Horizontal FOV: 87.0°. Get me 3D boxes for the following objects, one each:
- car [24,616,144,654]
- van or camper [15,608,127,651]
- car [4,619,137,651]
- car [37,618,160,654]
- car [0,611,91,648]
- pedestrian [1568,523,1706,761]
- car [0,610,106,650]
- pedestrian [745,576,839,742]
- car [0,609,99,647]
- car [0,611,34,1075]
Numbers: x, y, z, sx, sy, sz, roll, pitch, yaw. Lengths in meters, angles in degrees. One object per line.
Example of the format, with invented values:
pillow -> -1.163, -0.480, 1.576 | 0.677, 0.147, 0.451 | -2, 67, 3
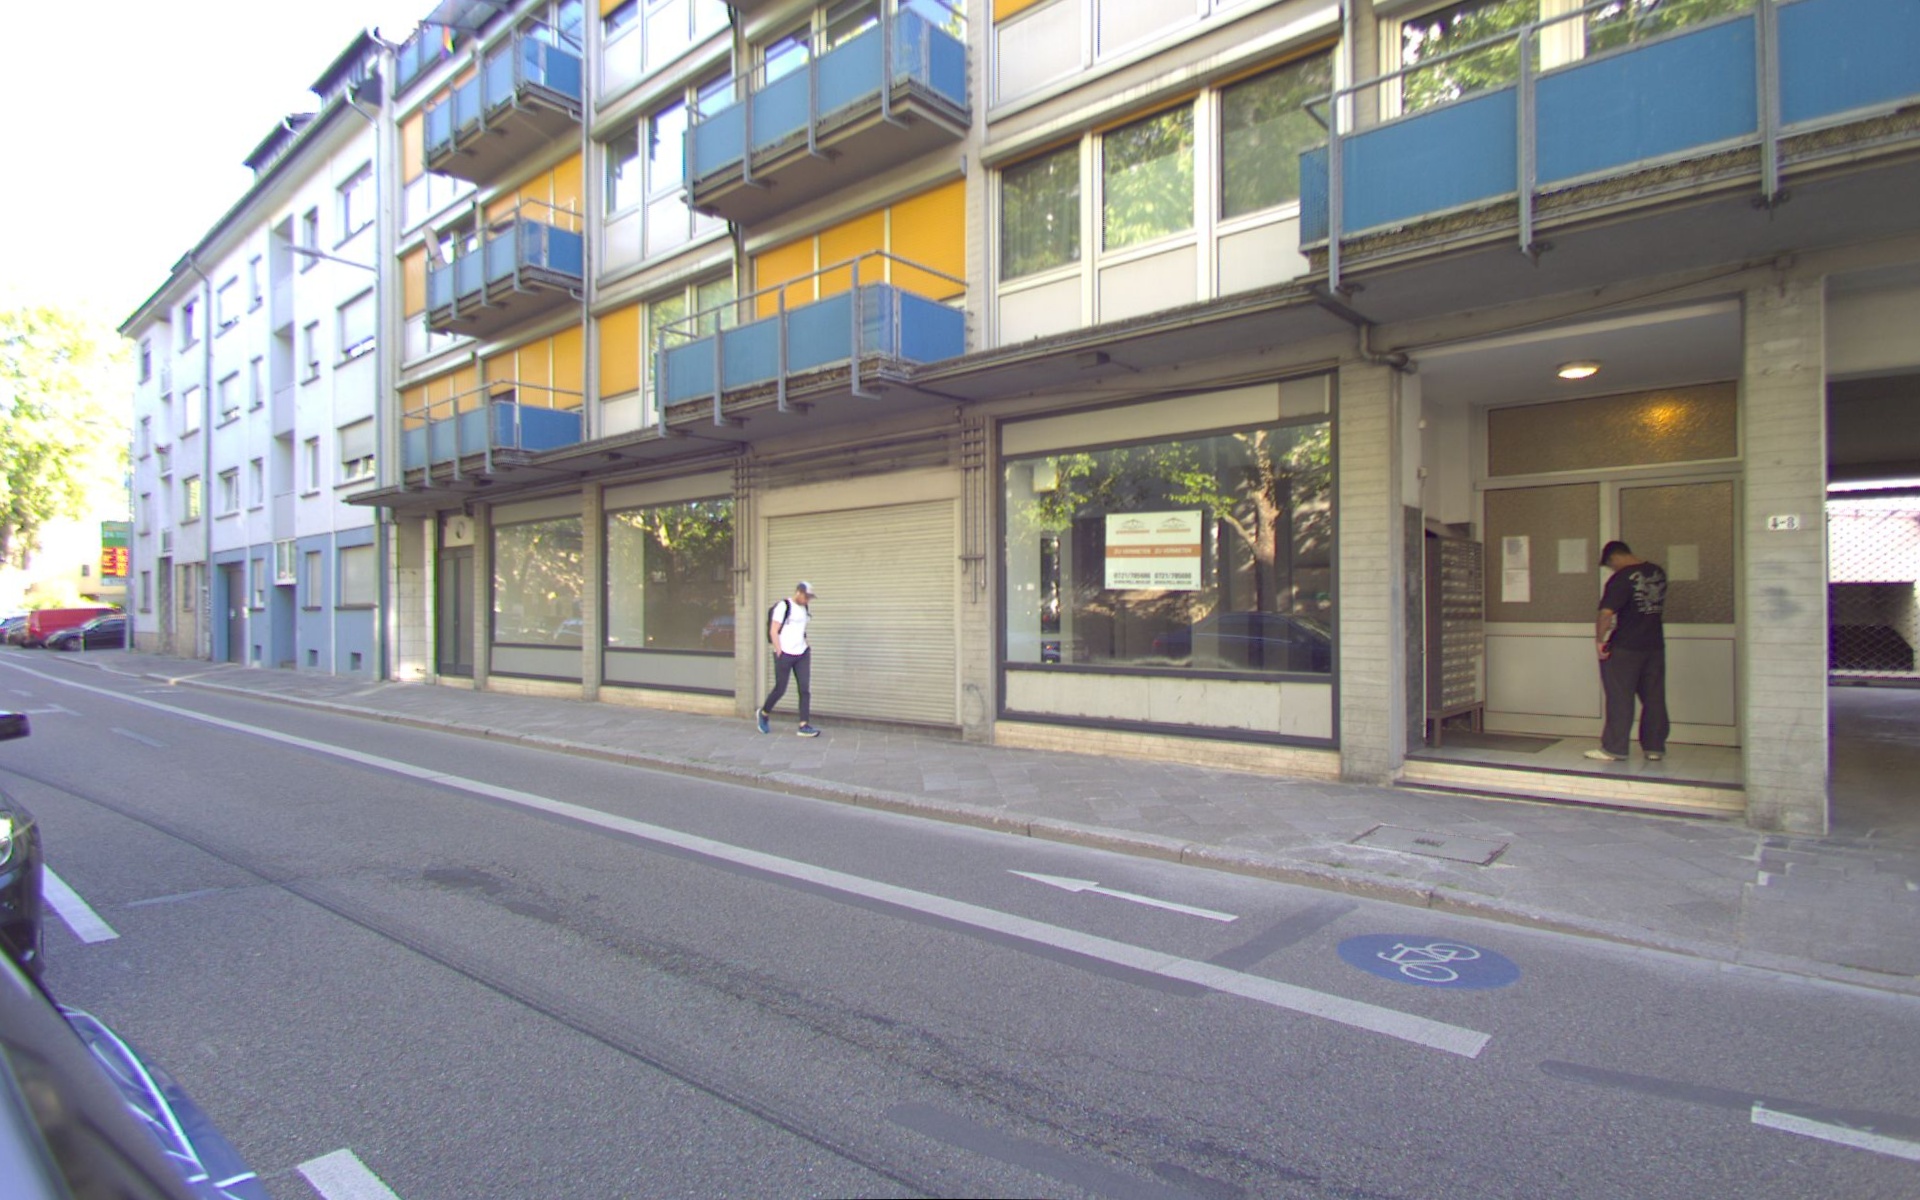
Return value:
car -> -41.632, 1.626, 48.165 | 1.999, 1.703, 4.093 | -1, -1, 41
van or camper -> -43.888, 1.436, 50.008 | 1.999, 2.029, 3.946 | -1, -1, 40
car -> -45.734, 1.762, 52.129 | 1.999, 1.506, 4.927 | -1, -1, 41
car -> -39.752, 1.637, 46.781 | 1.999, 1.506, 4.093 | -1, -1, 41
car -> -57.394, 1.829, 62.859 | 1.999, 2.210, 4.927 | -1, -1, 41
pedestrian -> 5.147, 0.306, 7.708 | 0.650, 1.726, 0.550 | 0, -1, -16
car -> -53.314, 1.743, 59.199 | 1.999, 2.210, 4.927 | -1, -1, 41
pedestrian -> -1.926, 0.648, 11.582 | 0.879, 1.813, 0.593 | -1, 0, 41
car -> -55.401, 1.679, 61.150 | 1.999, 2.210, 4.927 | -1, -1, 41
car -> -5.015, 0.804, 3.863 | 3.861, 1.467, 1.718 | -1, -1, 40
